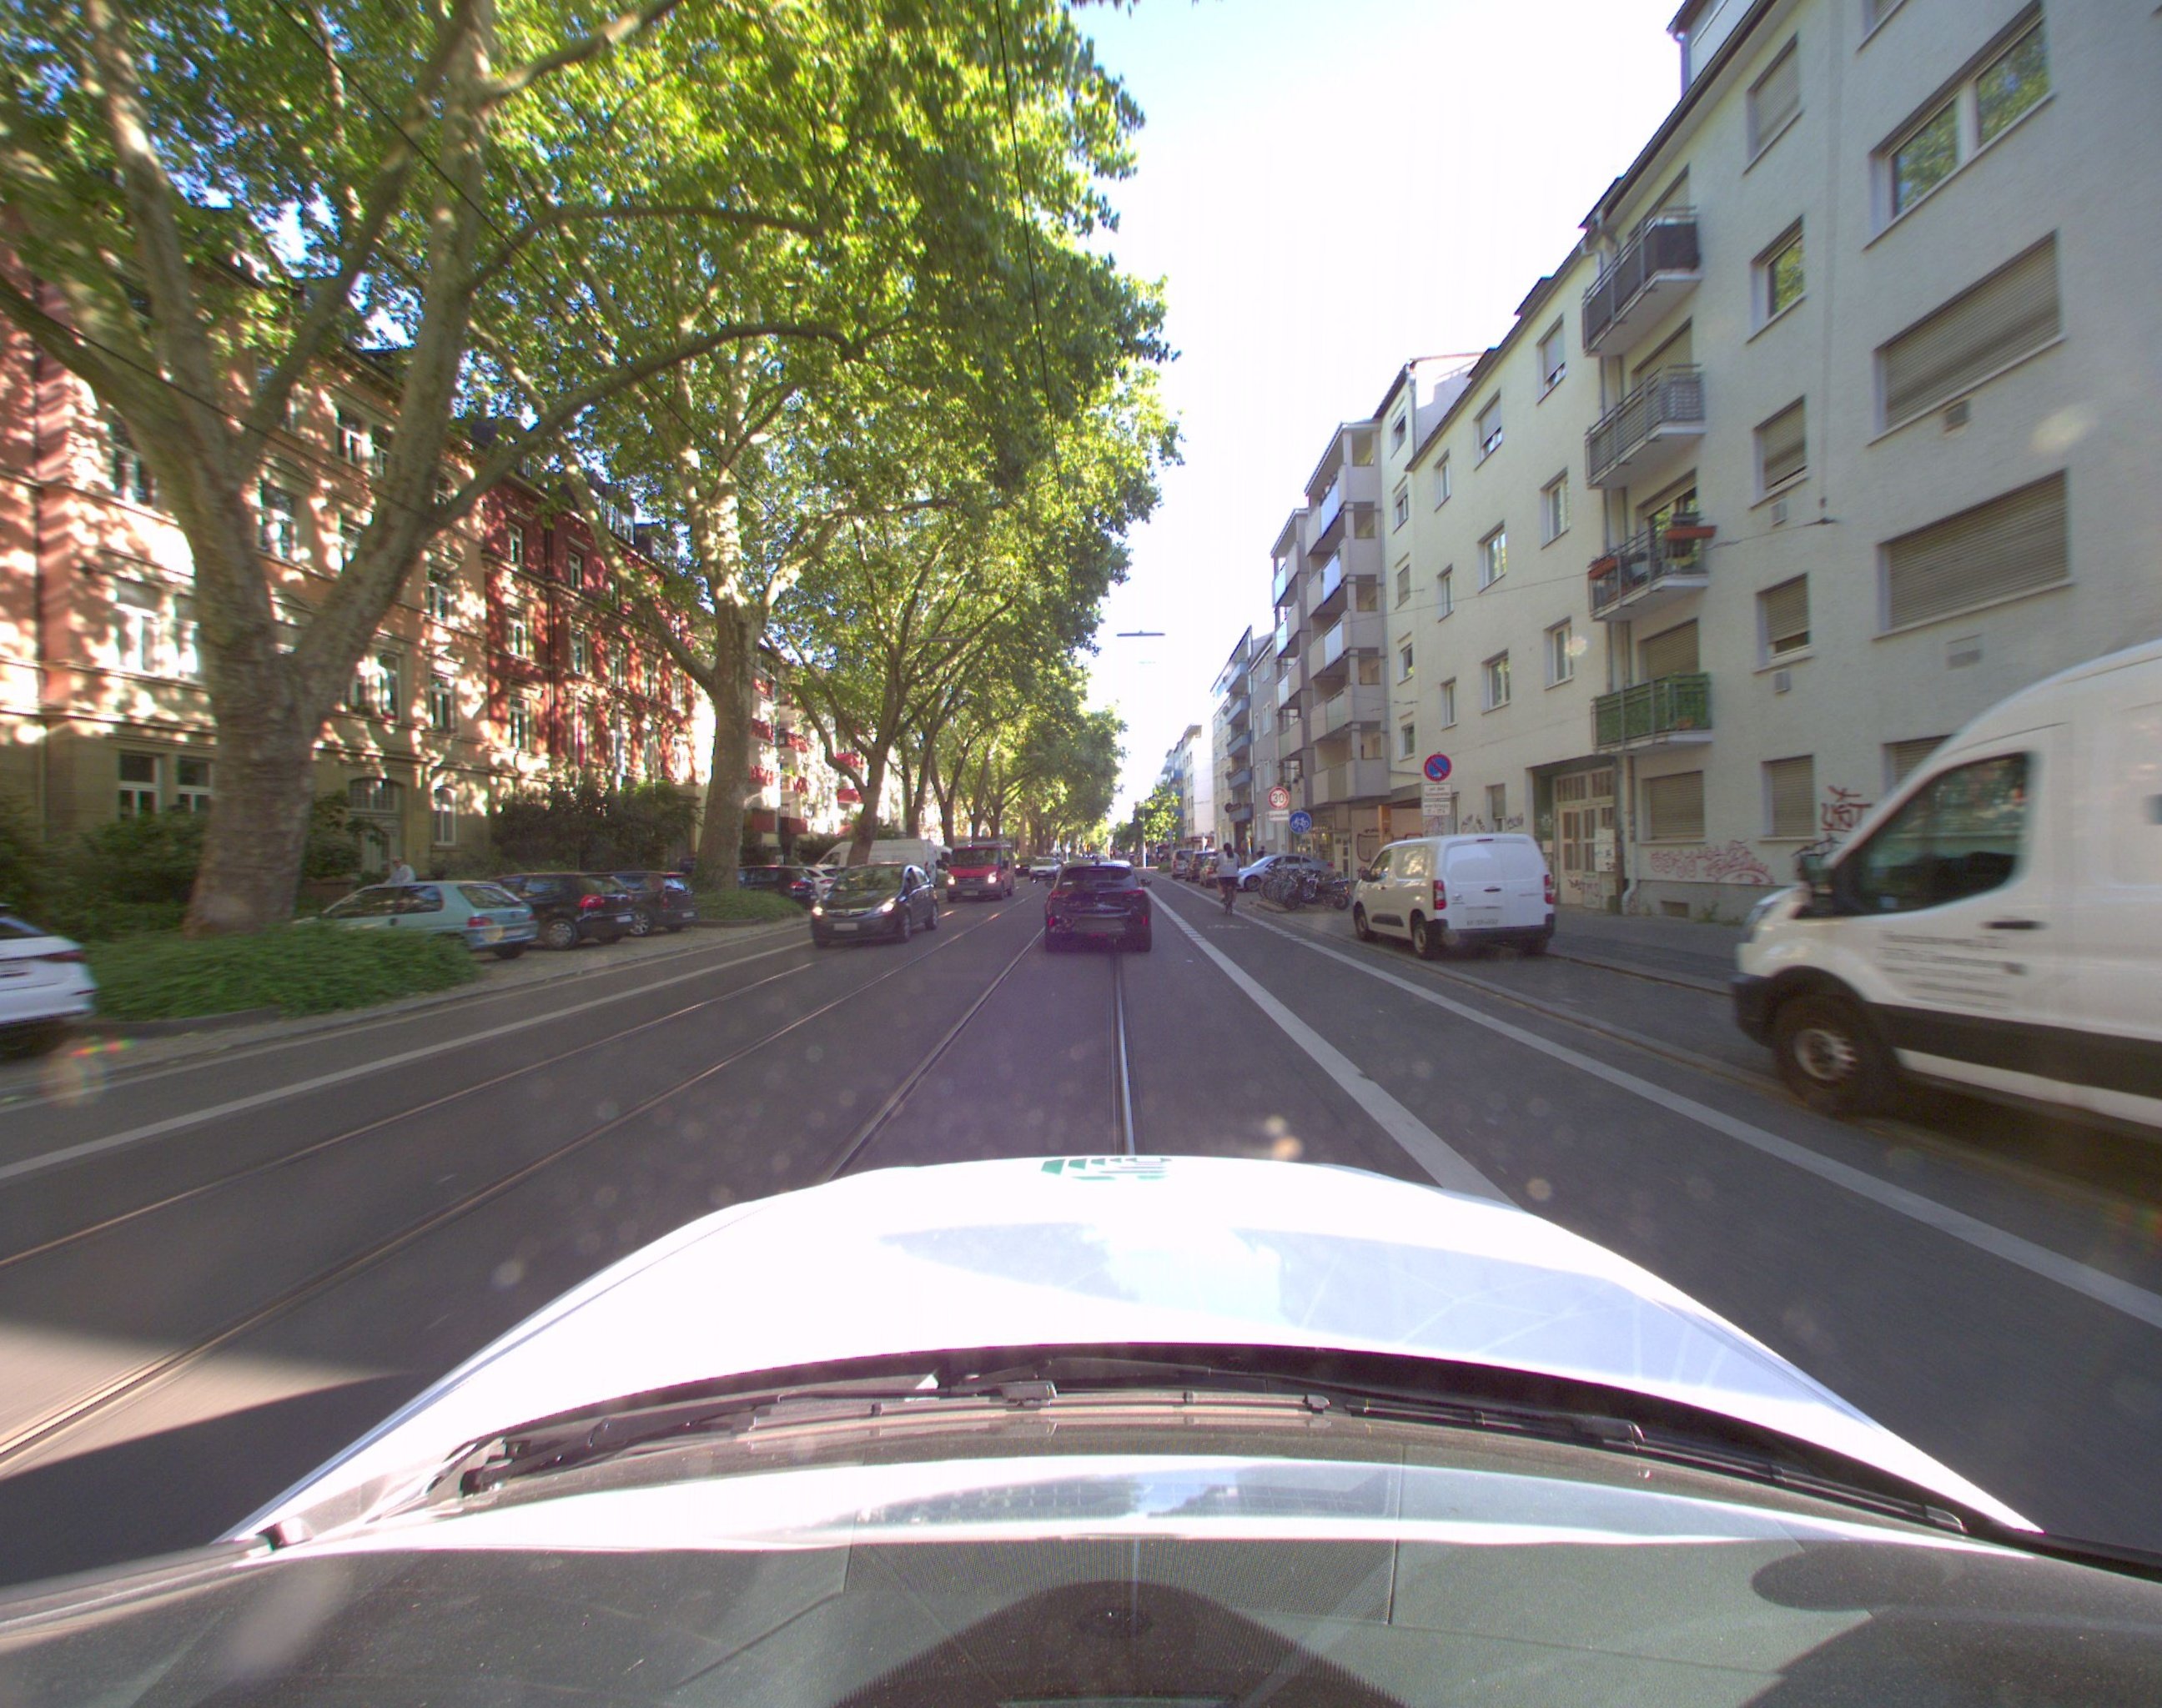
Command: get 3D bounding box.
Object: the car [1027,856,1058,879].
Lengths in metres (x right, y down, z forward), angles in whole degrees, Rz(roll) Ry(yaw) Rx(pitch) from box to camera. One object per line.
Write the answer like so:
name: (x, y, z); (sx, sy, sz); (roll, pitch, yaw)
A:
car: (-2.400, 0.813, 51.809); (1.712, 1.359, 4.469); (-1, 0, 0)

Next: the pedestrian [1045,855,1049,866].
pedestrian: (-5.017, 0.958, 120.000); (0.505, 1.583, 0.526); (-1, -1, -2)

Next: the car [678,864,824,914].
car: (-10.103, 1.055, 25.101); (3.778, 1.460, 1.705); (0, 0, 2)

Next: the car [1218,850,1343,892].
car: (8.134, 0.681, 33.371); (4.613, 1.437, 1.858); (-3, 0, -10)

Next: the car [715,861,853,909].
car: (-10.047, 1.024, 27.743); (3.971, 1.496, 1.831); (-1, 0, 2)

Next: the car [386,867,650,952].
car: (-10.938, 1.050, 16.010); (3.969, 1.460, 1.772); (-1, 0, 3)

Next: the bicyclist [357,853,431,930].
bicyclist: (-16.277, 0.874, 19.317); (0.827, 1.763, 1.048); (-1, 0, 1)

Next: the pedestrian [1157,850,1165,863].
pedestrian: (11.111, 0.378, 113.115); (0.760, 1.748, 0.800); (-2, -1, 30)

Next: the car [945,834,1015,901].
car: (-3.631, 0.473, 30.160); (1.911, 2.227, 4.960); (-1, 0, 0)

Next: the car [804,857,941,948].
car: (-3.910, 0.842, 15.867); (1.713, 1.510, 3.721); (-1, 0, -1)

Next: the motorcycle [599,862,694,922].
motorcycle: (-12.632, 1.058, 23.822); (1.048, 1.631, 3.013); (1, -1, 2)

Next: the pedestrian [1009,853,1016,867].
pedestrian: (-9.649, 0.857, 114.212); (0.903, 1.869, 0.643); (-1, 0, -4)

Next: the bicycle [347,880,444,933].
bicycle: (-16.294, 1.212, 19.423); (0.739, 1.138, 1.781); (-1, 0, 2)

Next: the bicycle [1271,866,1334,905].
bicycle: (6.337, 0.900, 23.360); (1.646, 0.987, 0.457); (-3, 0, 1)

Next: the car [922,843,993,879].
car: (-9.137, 0.509, 60.509); (4.930, 2.567, 2.081); (-1, 0, -2)

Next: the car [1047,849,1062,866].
car: (-4.463, 0.580, 136.483); (2.084, 2.584, 5.999); (-1, 0, 2)

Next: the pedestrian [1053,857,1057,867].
pedestrian: (-3.837, 1.170, 119.940); (0.505, 1.583, 0.527); (-1, -1, 1)

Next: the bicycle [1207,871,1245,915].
bicycle: (3.861, 1.014, 21.782); (0.698, 1.092, 1.990); (1, -1, 2)

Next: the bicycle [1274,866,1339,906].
bicycle: (6.322, 0.893, 22.827); (1.646, 0.987, 0.457); (-3, 0, 1)

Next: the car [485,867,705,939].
car: (-10.965, 1.085, 18.531); (3.969, 1.460, 1.706); (-1, 0, 3)

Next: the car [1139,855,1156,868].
car: (8.397, 0.931, 103.345); (1.714, 1.574, 4.081); (-1, 0, -2)

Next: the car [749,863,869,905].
car: (-10.027, 1.101, 30.167); (3.792, 1.432, 1.706); (-1, 0, 3)

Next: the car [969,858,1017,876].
car: (-7.704, 1.138, 71.642); (3.973, 1.522, 1.771); (-1, 0, 0)

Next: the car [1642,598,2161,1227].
car: (5.357, 0.220, 3.244); (2.141, 2.495, 6.090); (-1, 0, 1)

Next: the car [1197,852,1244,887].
car: (6.505, 0.681, 38.374); (1.717, 1.525, 4.517); (-1, 0, 4)

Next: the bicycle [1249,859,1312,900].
bicycle: (6.419, 0.812, 26.258); (1.885, 1.191, 0.457); (-3, 0, 1)

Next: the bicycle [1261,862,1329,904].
bicycle: (6.305, 0.849, 24.085); (1.787, 1.148, 0.705); (-3, 0, 1)

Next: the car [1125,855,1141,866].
car: (8.154, 0.974, 127.879); (1.988, 1.640, 3.997); (-1, 0, -2)

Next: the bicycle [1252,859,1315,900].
bicycle: (6.402, 0.801, 25.767); (1.816, 1.191, 0.457); (-3, 0, 1)

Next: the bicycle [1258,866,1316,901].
bicycle: (6.382, 0.907, 25.282); (1.646, 0.966, 0.457); (-3, 0, 1)

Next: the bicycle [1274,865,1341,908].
bicycle: (6.181, 0.881, 22.241); (1.646, 1.055, 0.457); (-3, 0, 1)

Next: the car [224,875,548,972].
car: (-11.266, 1.098, 13.366); (3.971, 1.369, 1.606); (-1, 0, 2)

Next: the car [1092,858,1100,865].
car: (3.463, 1.716, 188.758); (1.742, 1.651, 4.004); (-1, 0, 3)

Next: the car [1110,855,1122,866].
car: (5.483, 1.040, 128.020); (1.850, 1.651, 4.004); (-1, 0, 3)

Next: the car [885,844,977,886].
car: (-9.454, 0.656, 51.545); (5.339, 2.477, 2.058); (-1, 0, 2)

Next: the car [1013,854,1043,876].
car: (-4.482, 0.942, 69.242); (1.986, 1.700, 4.486); (-3, 0, 2)

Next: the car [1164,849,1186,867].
car: (8.978, 0.361, 78.342); (1.850, 1.651, 4.004); (-1, 0, 3)

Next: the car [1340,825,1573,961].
car: (5.830, 0.534, 13.313); (1.852, 1.820, 4.352); (-1, 0, 1)

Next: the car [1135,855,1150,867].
car: (8.206, 0.951, 108.851); (1.712, 1.490, 3.681); (-1, 0, 0)

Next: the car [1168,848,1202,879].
car: (6.826, 0.600, 53.693); (1.850, 1.890, 4.929); (-1, 0, 4)

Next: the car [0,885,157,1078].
car: (-10.394, 1.060, 6.451); (3.973, 1.460, 1.879); (-1, 0, 1)

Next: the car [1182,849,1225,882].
car: (6.683, 0.613, 44.867); (1.760, 1.705, 4.284); (-1, 0, 1)

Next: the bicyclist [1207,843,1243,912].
bicyclist: (3.819, 0.611, 21.620); (0.784, 1.759, 0.915); (-1, -1, 1)

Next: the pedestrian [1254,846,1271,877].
pedestrian: (10.519, 0.428, 47.248); (0.753, 1.720, 0.720); (-1, 0, 0)

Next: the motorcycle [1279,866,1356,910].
motorcycle: (6.172, 0.892, 21.288); (1.802, 1.080, 0.621); (-3, -1, 25)

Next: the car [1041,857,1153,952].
car: (0.294, 0.768, 14.038); (1.673, 1.422, 3.629); (0, 0, 1)

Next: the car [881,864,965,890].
car: (-9.066, 1.317, 46.926); (4.393, 1.384, 1.934); (-1, 0, 1)

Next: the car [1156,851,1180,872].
car: (7.450, 0.624, 70.222); (1.850, 1.651, 4.004); (-1, 0, 4)

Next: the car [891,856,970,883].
car: (-9.026, 0.925, 49.014); (4.354, 1.539, 1.873); (-1, 0, 1)

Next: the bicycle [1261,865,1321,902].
bicycle: (6.384, 0.902, 24.773); (1.646, 1.020, 0.457); (-3, 0, 1)

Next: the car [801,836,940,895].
car: (-9.531, 0.517, 37.167); (5.718, 2.536, 2.163); (-1, 0, 2)
